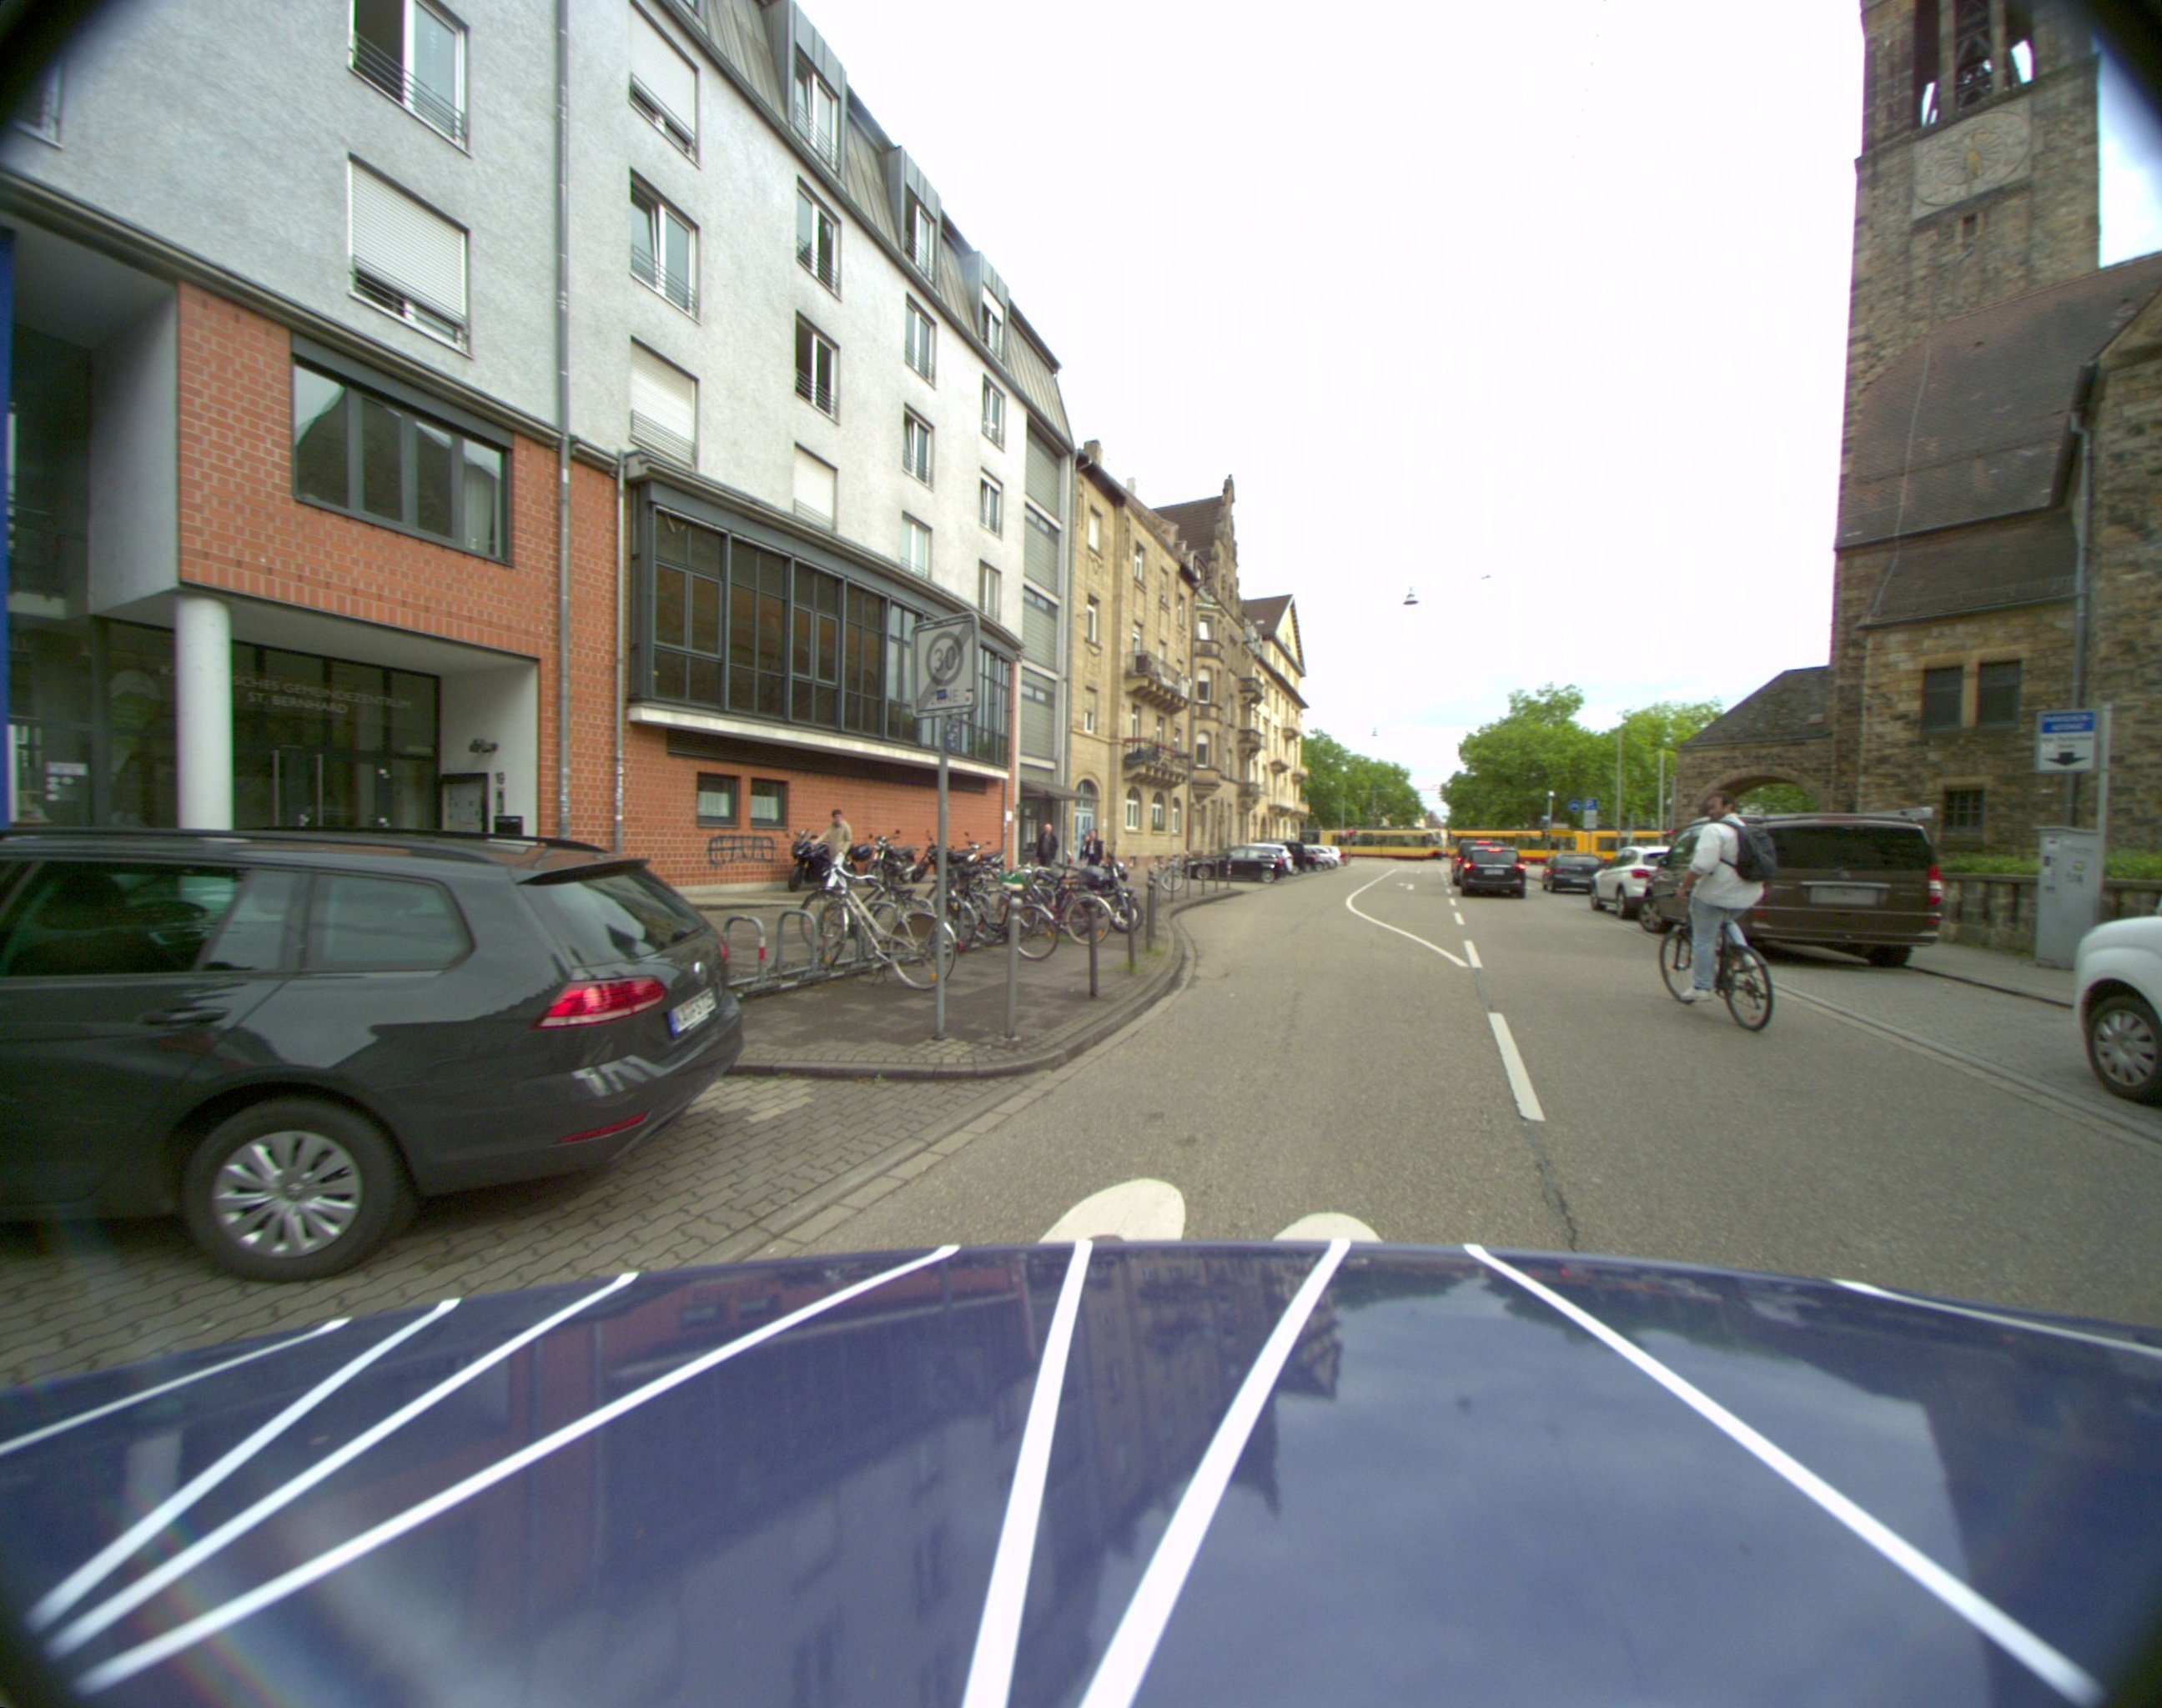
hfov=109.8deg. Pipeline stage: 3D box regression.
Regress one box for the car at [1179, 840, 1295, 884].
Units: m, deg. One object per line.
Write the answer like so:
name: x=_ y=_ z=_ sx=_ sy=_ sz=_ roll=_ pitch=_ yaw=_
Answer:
car: x=6.360 y=0.299 z=31.249 sx=4.261 sy=1.470 sz=1.683 roll=4 pitch=1 yaw=-8

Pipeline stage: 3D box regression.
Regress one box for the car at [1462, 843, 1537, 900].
car: x=13.702 y=0.499 z=25.099 sx=1.846 sy=1.674 sz=4.556 roll=1 pitch=1 yaw=25

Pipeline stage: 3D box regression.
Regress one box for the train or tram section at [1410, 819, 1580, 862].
train or tram section: x=42.045 y=-1.540 z=78.152 sx=3.588 sy=4.070 sz=14.993 roll=-2 pitch=3 yaw=-39

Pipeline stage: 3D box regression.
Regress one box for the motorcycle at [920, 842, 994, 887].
motorcycle: x=-3.296 y=0.281 z=20.311 sx=1.886 sy=1.137 sz=0.601 roll=0 pitch=3 yaw=-40

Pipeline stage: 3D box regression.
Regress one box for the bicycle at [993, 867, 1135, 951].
bicycle: x=-0.266 y=0.785 z=11.306 sx=2.010 sy=1.056 sz=0.613 roll=3 pitch=3 yaw=22

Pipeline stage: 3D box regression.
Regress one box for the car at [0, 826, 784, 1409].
car: x=-3.674 y=0.757 z=3.007 sx=4.287 sy=1.570 sz=1.861 roll=3 pitch=2 yaw=-8

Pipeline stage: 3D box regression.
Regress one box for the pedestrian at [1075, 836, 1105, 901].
pedestrian: x=0.247 y=0.367 z=20.183 sx=0.518 sy=1.653 sz=0.717 roll=3 pitch=4 yaw=22

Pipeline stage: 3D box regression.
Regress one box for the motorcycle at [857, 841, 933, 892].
motorcycle: x=-4.475 y=0.273 z=18.405 sx=0.601 sy=1.137 sz=2.074 roll=3 pitch=2 yaw=25

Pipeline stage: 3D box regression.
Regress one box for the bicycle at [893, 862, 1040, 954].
bicycle: x=-1.572 y=0.697 z=10.363 sx=1.930 sy=1.071 sz=0.613 roll=3 pitch=3 yaw=22

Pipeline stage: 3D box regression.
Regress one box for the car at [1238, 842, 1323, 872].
car: x=11.772 y=0.180 z=44.920 sx=4.468 sy=1.544 sz=1.849 roll=2 pitch=2 yaw=-14

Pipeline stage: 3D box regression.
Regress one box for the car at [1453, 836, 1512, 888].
car: x=16.650 y=0.282 z=31.723 sx=1.913 sy=1.943 sz=5.292 roll=1 pitch=1 yaw=25

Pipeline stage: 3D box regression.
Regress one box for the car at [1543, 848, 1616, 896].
car: x=17.759 y=0.593 z=27.219 sx=1.647 sy=1.500 sz=3.777 roll=0 pitch=2 yaw=25

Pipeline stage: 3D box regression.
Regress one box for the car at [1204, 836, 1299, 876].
car: x=8.161 y=0.104 z=36.540 sx=4.003 sy=1.592 sz=1.763 roll=4 pitch=1 yaw=-15

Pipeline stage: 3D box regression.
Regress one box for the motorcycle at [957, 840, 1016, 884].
motorcycle: x=-2.718 y=0.239 z=21.917 sx=1.570 sy=1.187 sz=0.601 roll=2 pitch=1 yaw=-42

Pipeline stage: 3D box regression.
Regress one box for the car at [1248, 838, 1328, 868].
car: x=12.990 y=-0.054 z=47.684 sx=4.468 sy=1.565 sz=1.744 roll=3 pitch=2 yaw=-14

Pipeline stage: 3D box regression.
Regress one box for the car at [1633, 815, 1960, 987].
car: x=10.312 y=0.501 z=11.589 sx=2.014 sy=2.002 sz=5.191 roll=1 pitch=1 yaw=24

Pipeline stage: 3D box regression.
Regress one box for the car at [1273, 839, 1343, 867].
car: x=15.949 y=-0.079 z=53.428 sx=4.225 sy=1.673 sz=1.913 roll=2 pitch=3 yaw=-9

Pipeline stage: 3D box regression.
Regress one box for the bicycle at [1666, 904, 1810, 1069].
bicycle: x=5.675 y=1.056 z=6.674 sx=0.568 sy=1.081 sz=1.990 roll=2 pitch=1 yaw=30

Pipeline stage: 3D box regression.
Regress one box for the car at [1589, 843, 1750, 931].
car: x=12.952 y=0.613 z=17.055 sx=1.844 sy=1.678 sz=4.440 roll=1 pitch=1 yaw=24

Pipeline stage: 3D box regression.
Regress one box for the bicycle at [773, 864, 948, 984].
bicycle: x=-2.466 y=0.731 z=8.453 sx=1.885 sy=1.135 sz=0.613 roll=3 pitch=3 yaw=22

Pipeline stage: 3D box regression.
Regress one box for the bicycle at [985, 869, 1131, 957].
bicycle: x=-0.336 y=0.791 z=10.621 sx=1.930 sy=1.038 sz=0.613 roll=3 pitch=3 yaw=22

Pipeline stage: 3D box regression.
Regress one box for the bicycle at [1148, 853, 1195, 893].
bicycle: x=2.699 y=0.555 z=22.924 sx=0.730 sy=1.098 sz=1.733 roll=2 pitch=2 yaw=-16

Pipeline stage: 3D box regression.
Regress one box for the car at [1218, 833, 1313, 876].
car: x=9.507 y=0.012 z=39.319 sx=4.286 sy=1.896 sz=1.876 roll=4 pitch=1 yaw=-16

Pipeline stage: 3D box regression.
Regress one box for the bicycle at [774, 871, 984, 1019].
bicycle: x=-1.890 y=0.787 z=7.065 sx=1.885 sy=1.135 sz=0.613 roll=3 pitch=3 yaw=22

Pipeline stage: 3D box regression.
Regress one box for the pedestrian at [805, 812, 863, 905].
pedestrian: x=-4.872 y=0.084 z=15.010 sx=0.630 sy=1.744 sz=0.813 roll=5 pitch=3 yaw=21

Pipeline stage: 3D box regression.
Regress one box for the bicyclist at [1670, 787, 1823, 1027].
bicyclist: x=5.509 y=0.401 z=6.353 sx=0.782 sy=1.855 sz=0.716 roll=2 pitch=2 yaw=30

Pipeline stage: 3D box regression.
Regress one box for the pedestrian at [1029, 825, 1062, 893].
pedestrian: x=-0.943 y=0.110 z=20.242 sx=0.643 sy=1.762 sz=0.542 roll=4 pitch=4 yaw=23

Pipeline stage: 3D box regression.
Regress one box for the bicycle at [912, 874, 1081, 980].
bicycle: x=-1.008 y=0.818 z=8.962 sx=1.885 sy=1.038 sz=0.613 roll=3 pitch=3 yaw=22

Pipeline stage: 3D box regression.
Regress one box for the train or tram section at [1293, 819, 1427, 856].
train or tram section: x=32.567 y=-2.041 z=89.843 sx=3.661 sy=4.070 sz=14.993 roll=-2 pitch=3 yaw=-39

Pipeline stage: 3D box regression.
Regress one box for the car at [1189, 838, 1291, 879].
car: x=7.069 y=0.166 z=34.110 sx=3.999 sy=1.525 sz=1.931 roll=4 pitch=1 yaw=-4

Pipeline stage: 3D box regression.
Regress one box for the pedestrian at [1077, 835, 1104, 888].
pedestrian: x=0.281 y=0.196 z=22.289 sx=0.518 sy=1.502 sz=0.717 roll=3 pitch=4 yaw=22

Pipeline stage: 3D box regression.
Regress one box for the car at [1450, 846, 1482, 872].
car: x=25.223 y=0.326 z=49.882 sx=1.650 sy=1.519 sz=3.900 roll=4 pitch=2 yaw=25

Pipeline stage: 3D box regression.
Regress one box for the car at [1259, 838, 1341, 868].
car: x=14.538 y=-0.049 z=50.538 sx=4.754 sy=1.676 sz=1.934 roll=3 pitch=3 yaw=-11

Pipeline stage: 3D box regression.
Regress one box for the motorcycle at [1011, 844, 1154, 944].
motorcycle: x=0.013 y=0.592 z=12.250 sx=2.135 sy=1.422 sz=0.772 roll=3 pitch=3 yaw=22

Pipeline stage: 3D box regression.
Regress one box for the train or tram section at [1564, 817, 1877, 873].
train or tram section: x=52.978 y=-0.989 z=64.554 sx=3.635 sy=4.070 sz=19.887 roll=-2 pitch=3 yaw=-39

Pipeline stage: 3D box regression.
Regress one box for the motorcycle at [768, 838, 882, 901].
motorcycle: x=-5.409 y=0.297 z=16.228 sx=1.028 sy=1.196 sz=2.212 roll=3 pitch=2 yaw=24

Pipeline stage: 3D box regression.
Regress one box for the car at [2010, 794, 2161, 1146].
car: x=6.294 y=0.655 z=2.835 sx=1.844 sy=1.928 sz=4.556 roll=1 pitch=1 yaw=27
